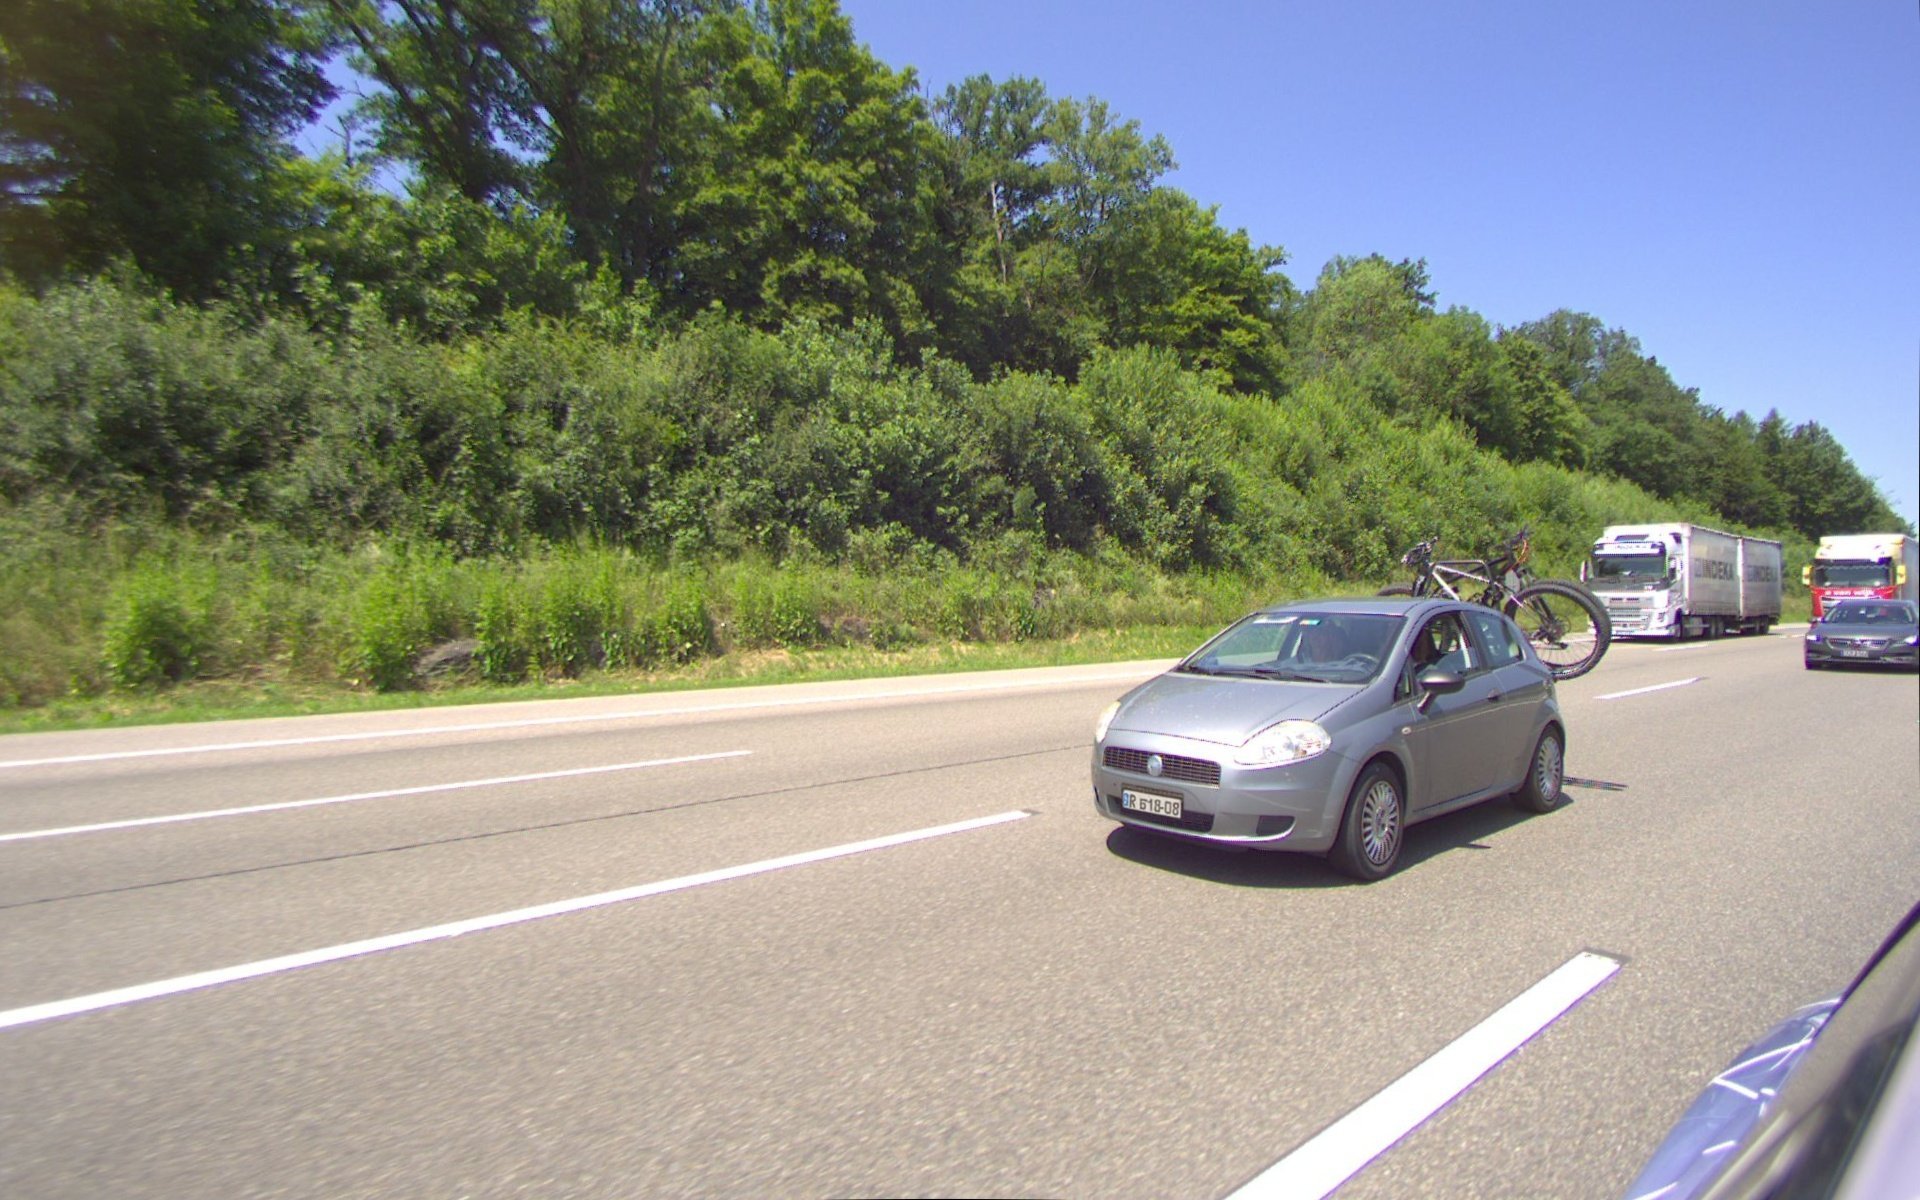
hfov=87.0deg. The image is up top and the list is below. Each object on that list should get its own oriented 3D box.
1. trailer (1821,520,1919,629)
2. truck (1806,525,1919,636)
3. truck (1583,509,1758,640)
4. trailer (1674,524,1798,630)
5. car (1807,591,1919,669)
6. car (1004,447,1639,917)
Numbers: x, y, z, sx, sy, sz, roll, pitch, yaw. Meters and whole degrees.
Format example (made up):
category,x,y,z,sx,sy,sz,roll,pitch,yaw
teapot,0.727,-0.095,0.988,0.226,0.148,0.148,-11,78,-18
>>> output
category,x,y,z,sx,sy,sz,roll,pitch,yaw
trailer,41.422,-0.953,44.746,14.588,4.195,2.925,1,1,-41
truck,36.588,-0.704,40.569,7.408,4.032,3.015,1,0,-41
truck,26.389,-0.827,37.271,10.777,4.214,2.726,0,-1,-41
trailer,33.209,-0.904,43.193,8.236,4.122,2.583,0,-1,-41
car,19.846,0.557,21.505,5.132,1.471,1.971,0,1,-40
car,2.667,0.362,6.777,4.700,2.080,1.964,0,0,-41
